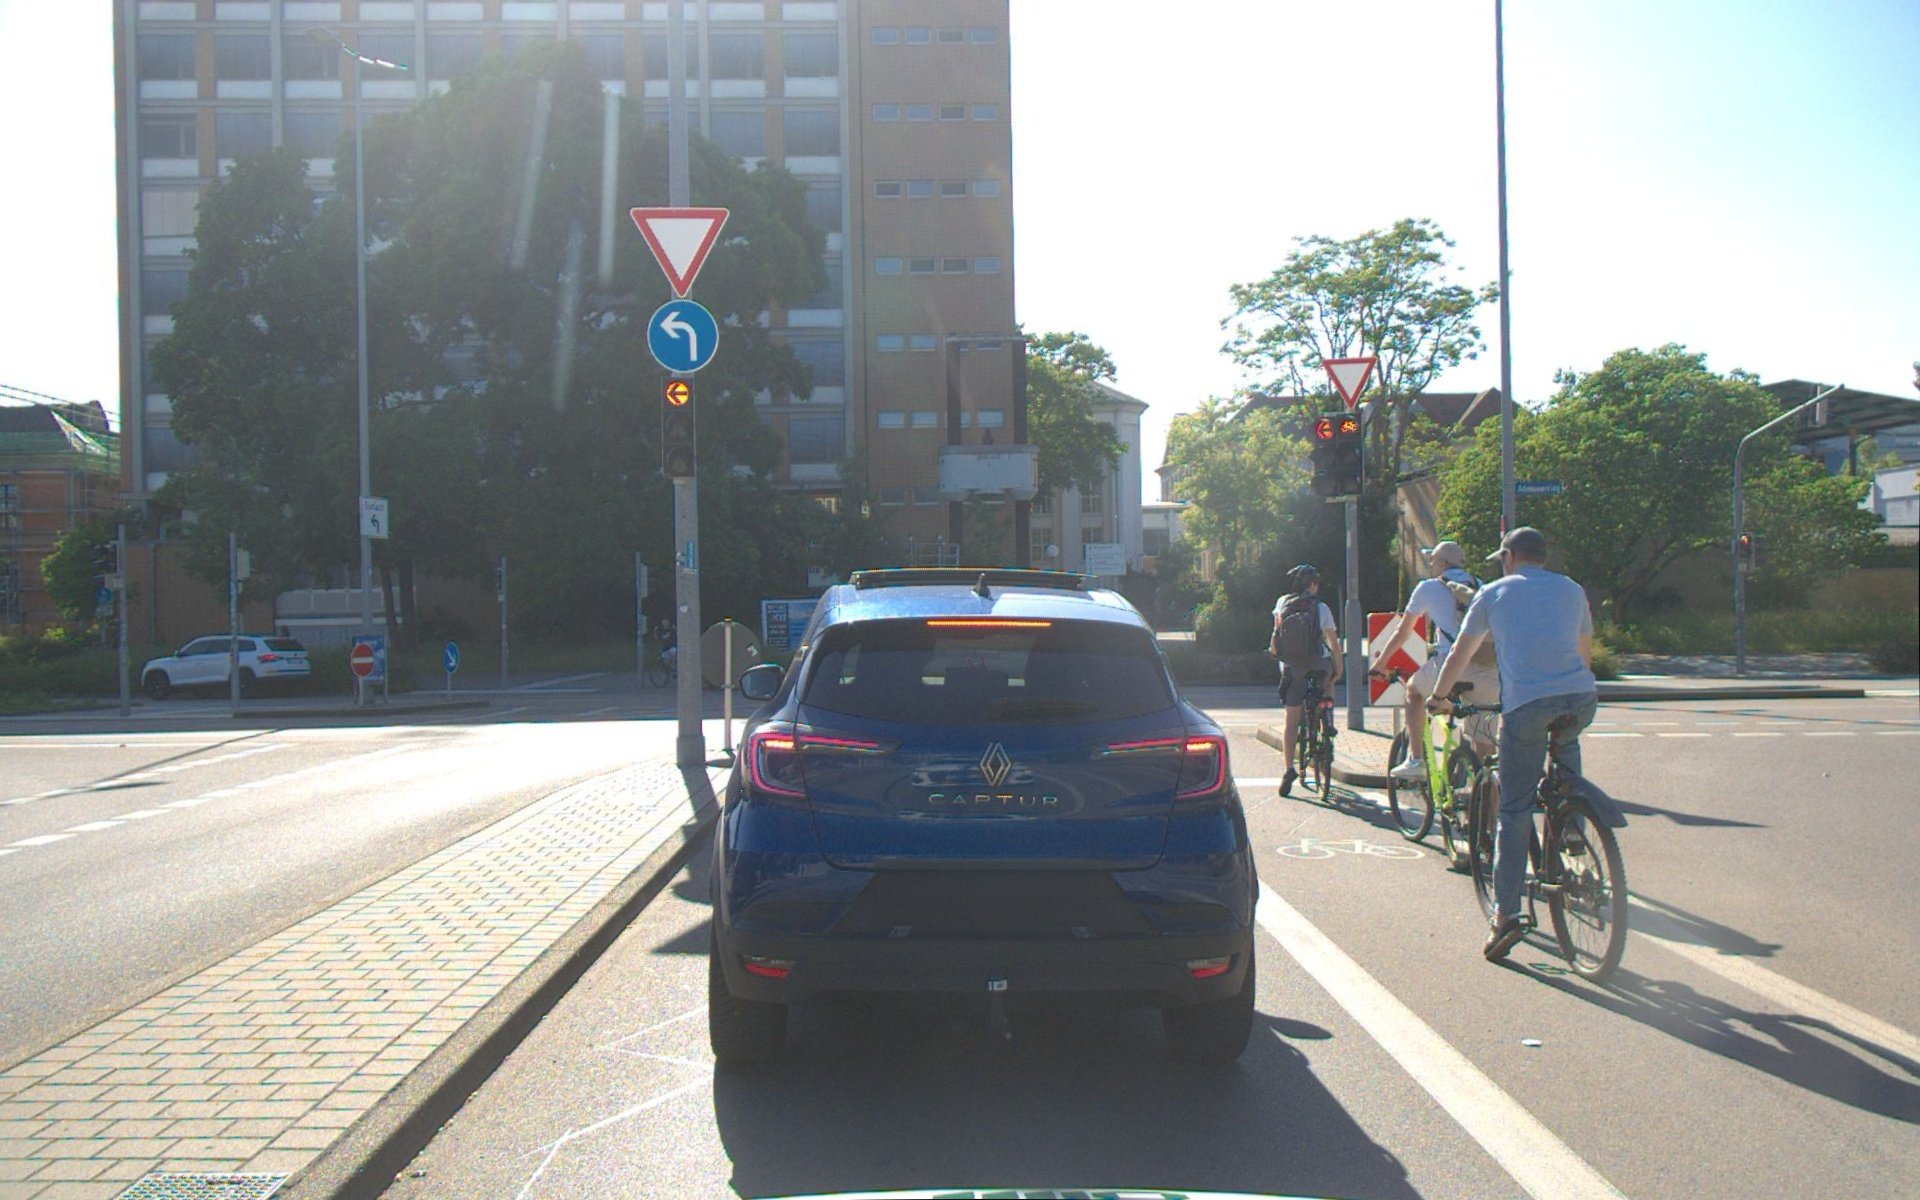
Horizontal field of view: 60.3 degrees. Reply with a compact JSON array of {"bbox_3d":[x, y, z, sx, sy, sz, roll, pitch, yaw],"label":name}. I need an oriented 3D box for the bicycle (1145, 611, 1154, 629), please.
[{"bbox_3d":[10.794,1.140,94.223,0.397,0.990,1.684,1,0,3],"label":"bicycle"}]

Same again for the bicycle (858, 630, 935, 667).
[{"bbox_3d":[-1.758,1.339,45.637,2.032,0.981,0.599,-1,0,11],"label":"bicycle"}]

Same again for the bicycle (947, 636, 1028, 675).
[{"bbox_3d":[0.732,1.470,43.761,2.037,0.946,0.697,-2,1,10],"label":"bicycle"}]

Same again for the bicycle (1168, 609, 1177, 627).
[{"bbox_3d":[12.155,1.019,94.568,0.397,0.990,1.684,1,0,3],"label":"bicycle"}]

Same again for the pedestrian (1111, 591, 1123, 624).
[{"bbox_3d":[9.059,0.450,95.667,0.611,1.888,0.563,-1,0,1],"label":"pedestrian"}]

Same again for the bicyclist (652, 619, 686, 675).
[{"bbox_3d":[-7.672,1.236,43.645,0.728,1.466,0.593,-1,0,-27],"label":"bicyclist"}]

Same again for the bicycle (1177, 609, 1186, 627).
[{"bbox_3d":[12.679,1.028,94.589,0.397,0.990,1.684,1,0,3],"label":"bicycle"}]

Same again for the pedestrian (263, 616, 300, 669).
[{"bbox_3d":[-21.656,1.368,52.787,0.842,1.598,0.559,-5,0,20],"label":"pedestrian"}]

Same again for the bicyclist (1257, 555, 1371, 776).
[{"bbox_3d":[2.759,0.497,12.975,0.711,1.657,0.969,1,0,3],"label":"bicyclist"}]

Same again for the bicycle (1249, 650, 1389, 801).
[{"bbox_3d":[2.760,0.932,12.923,0.723,1.012,2.174,1,0,3],"label":"bicycle"}]

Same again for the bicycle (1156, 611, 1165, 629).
[{"bbox_3d":[11.403,1.151,94.188,0.397,0.990,1.684,1,0,3],"label":"bicycle"}]

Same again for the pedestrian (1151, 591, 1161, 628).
[{"bbox_3d":[10.796,0.511,91.195,0.465,2.049,0.523,-1,0,5],"label":"pedestrian"}]

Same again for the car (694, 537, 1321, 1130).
[{"bbox_3d":[0.060,0.664,6.682,1.767,1.660,3.998,1,0,-3],"label":"car"}]

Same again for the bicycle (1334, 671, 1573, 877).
[{"bbox_3d":[2.870,0.974,9.845,0.646,1.020,1.967,1,0,-6],"label":"bicycle"}]

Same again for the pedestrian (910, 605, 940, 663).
[{"bbox_3d":[-0.987,0.956,46.782,0.721,1.631,0.599,-1,0,12],"label":"pedestrian"}]

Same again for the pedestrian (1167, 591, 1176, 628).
[{"bbox_3d":[11.826,0.535,92.562,0.465,2.049,0.468,-1,0,5],"label":"pedestrian"}]

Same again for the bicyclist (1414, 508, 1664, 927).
[{"bbox_3d":[2.507,0.482,7.271,0.736,1.698,1.016,1,0,0],"label":"bicyclist"}]

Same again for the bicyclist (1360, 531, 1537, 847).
[{"bbox_3d":[2.882,0.506,9.841,0.633,1.769,1.065,1,0,-6],"label":"bicyclist"}]

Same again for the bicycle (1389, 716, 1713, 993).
[{"bbox_3d":[2.502,1.036,7.273,0.725,0.911,1.978,1,0,0],"label":"bicycle"}]

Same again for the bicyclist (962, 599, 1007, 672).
[{"bbox_3d":[0.650,0.942,43.743,1.078,1.900,0.653,-1,0,10],"label":"bicyclist"}]

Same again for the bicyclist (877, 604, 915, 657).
[{"bbox_3d":[-1.774,0.839,45.643,0.916,1.454,0.599,-1,0,10],"label":"bicyclist"}]

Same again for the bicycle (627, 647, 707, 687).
[{"bbox_3d":[-7.720,1.760,43.619,1.982,0.981,0.593,-1,0,-28],"label":"bicycle"}]

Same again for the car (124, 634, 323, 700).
[{"bbox_3d":[-19.543,1.768,43.918,4.721,1.660,1.845,-1,0,15],"label":"car"}]
